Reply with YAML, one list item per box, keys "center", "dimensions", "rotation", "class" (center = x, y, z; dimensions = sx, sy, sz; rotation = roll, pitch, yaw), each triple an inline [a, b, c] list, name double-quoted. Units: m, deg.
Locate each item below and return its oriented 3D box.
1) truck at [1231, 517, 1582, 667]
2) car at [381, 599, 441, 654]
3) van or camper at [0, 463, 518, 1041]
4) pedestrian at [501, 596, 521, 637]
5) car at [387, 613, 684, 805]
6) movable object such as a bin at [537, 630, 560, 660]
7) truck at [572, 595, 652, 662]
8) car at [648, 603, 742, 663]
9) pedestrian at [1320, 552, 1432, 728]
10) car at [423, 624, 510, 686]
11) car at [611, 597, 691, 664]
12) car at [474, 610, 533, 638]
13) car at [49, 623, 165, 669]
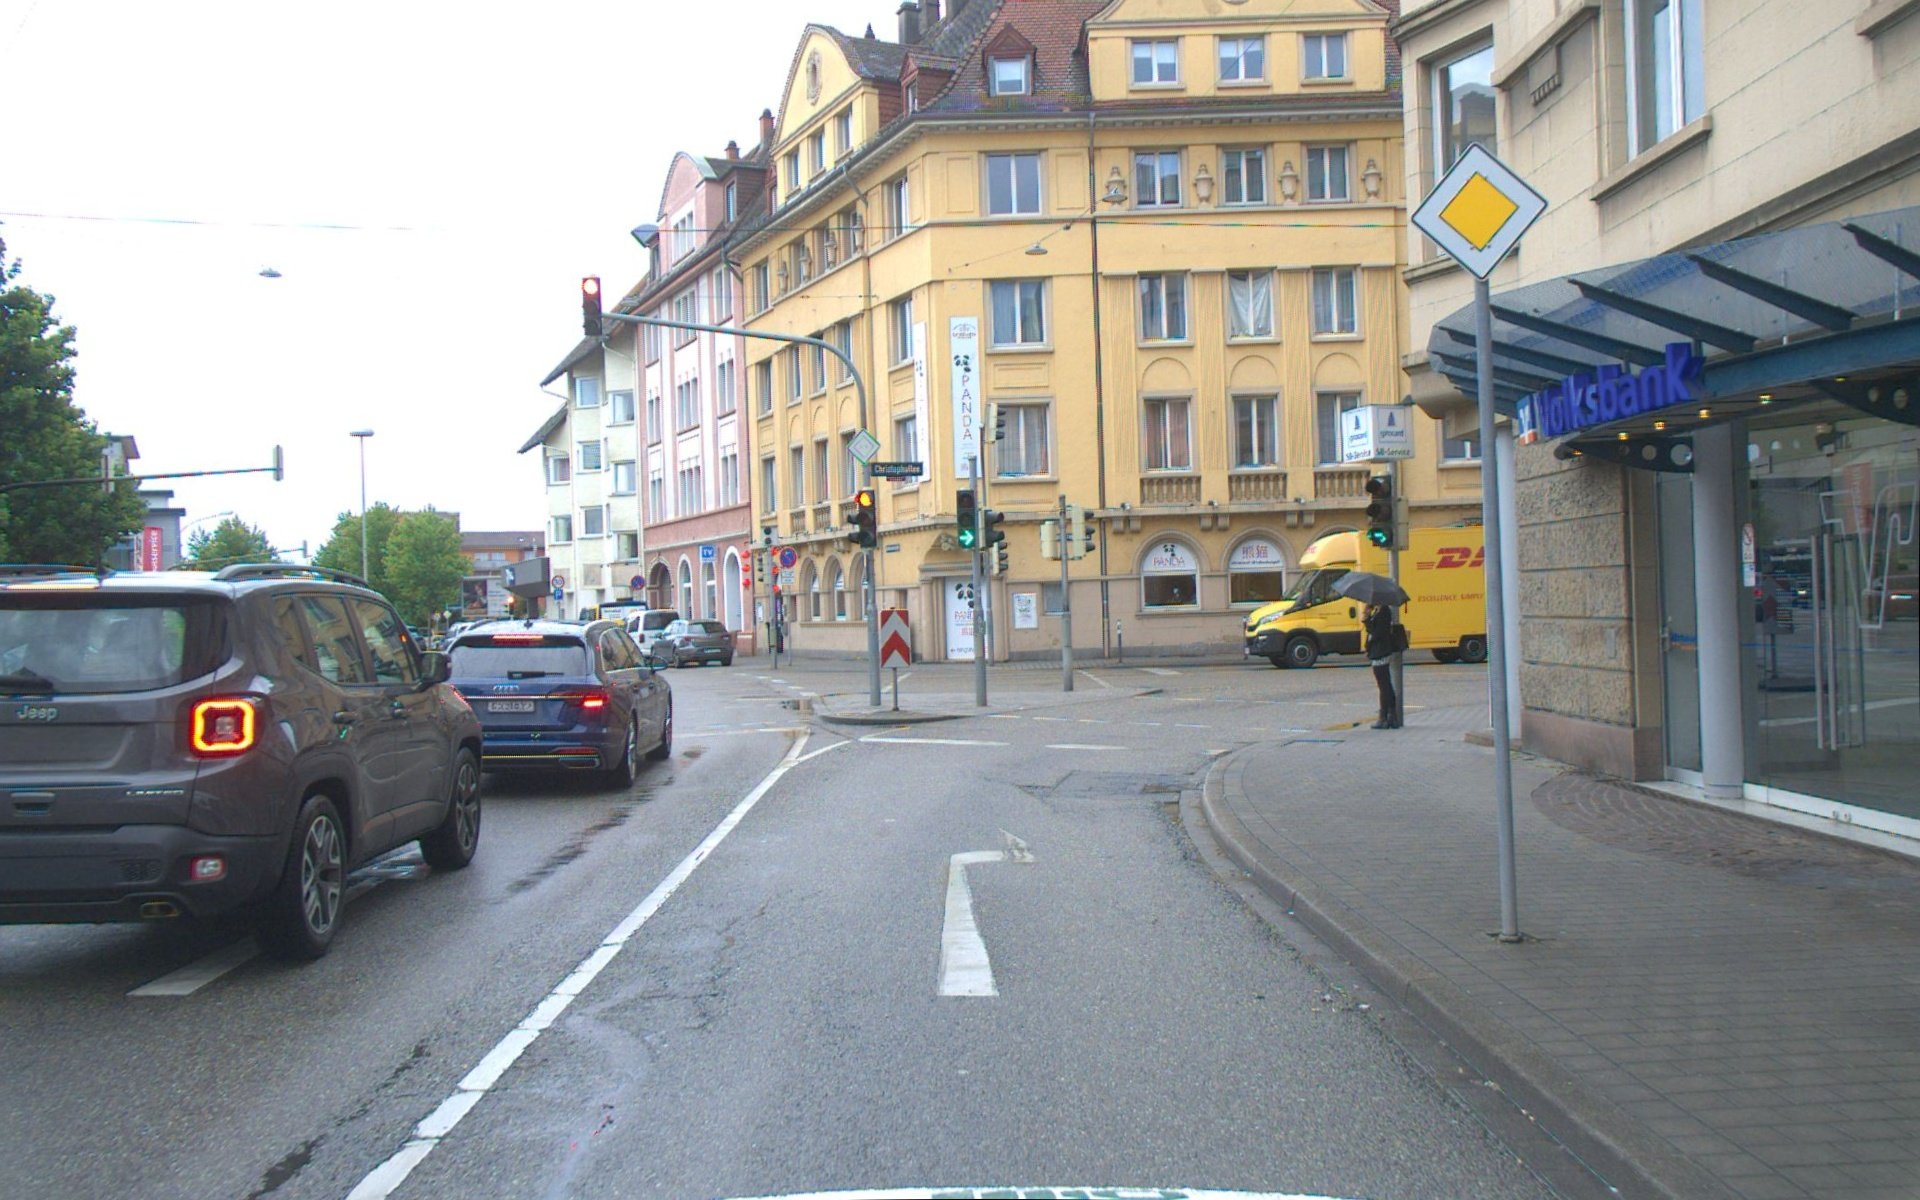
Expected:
- center: [9.548, -0.160, 35.758]
  dimensions: [6.948, 2.901, 2.082]
  rotation: [-2, -1, -1]
  class: "truck"
- center: [-21.620, 1.040, 65.052]
  dimensions: [1.966, 2.049, 3.973]
  rotation: [-2, 0, -22]
  class: "car"
- center: [-3.632, 0.604, 8.433]
  dimensions: [1.818, 2.184, 4.139]
  rotation: [-2, 0, -4]
  class: "van or camper"
- center: [-21.928, 0.816, 80.752]
  dimensions: [0.714, 1.971, 0.786]
  rotation: [-1, -1, -28]
  class: "pedestrian"
- center: [-3.654, 0.875, 15.075]
  dimensions: [1.767, 1.430, 4.680]
  rotation: [-1, -1, -4]
  class: "car"
- center: [-17.776, 1.930, 71.431]
  dimensions: [0.738, 1.253, 0.976]
  rotation: [3, -2, -25]
  class: "movable object such as a bin"
- center: [-13.210, 1.058, 62.633]
  dimensions: [2.001, 2.431, 4.201]
  rotation: [-1, 0, -26]
  class: "truck"
- center: [-8.212, 0.982, 50.993]
  dimensions: [1.855, 1.665, 3.968]
  rotation: [-2, 1, -25]
  class: "car"
- center: [4.759, 0.452, 18.877]
  dimensions: [1.036, 1.937, 1.025]
  rotation: [-2, 0, 23]
  class: "pedestrian"
- center: [-15.834, 1.735, 52.932]
  dimensions: [1.970, 1.847, 3.964]
  rotation: [-2, -1, -27]
  class: "car"
- center: [-10.724, 1.030, 57.209]
  dimensions: [1.740, 2.218, 3.967]
  rotation: [-1, 0, -26]
  class: "car"
- center: [-35.078, 1.847, 127.070]
  dimensions: [3.956, 2.049, 1.974]
  rotation: [1, -1, -37]
  class: "car"
- center: [-36.566, 1.953, 70.977]
  dimensions: [3.907, 1.780, 1.999]
  rotation: [-2, 0, -3]
  class: "car"
